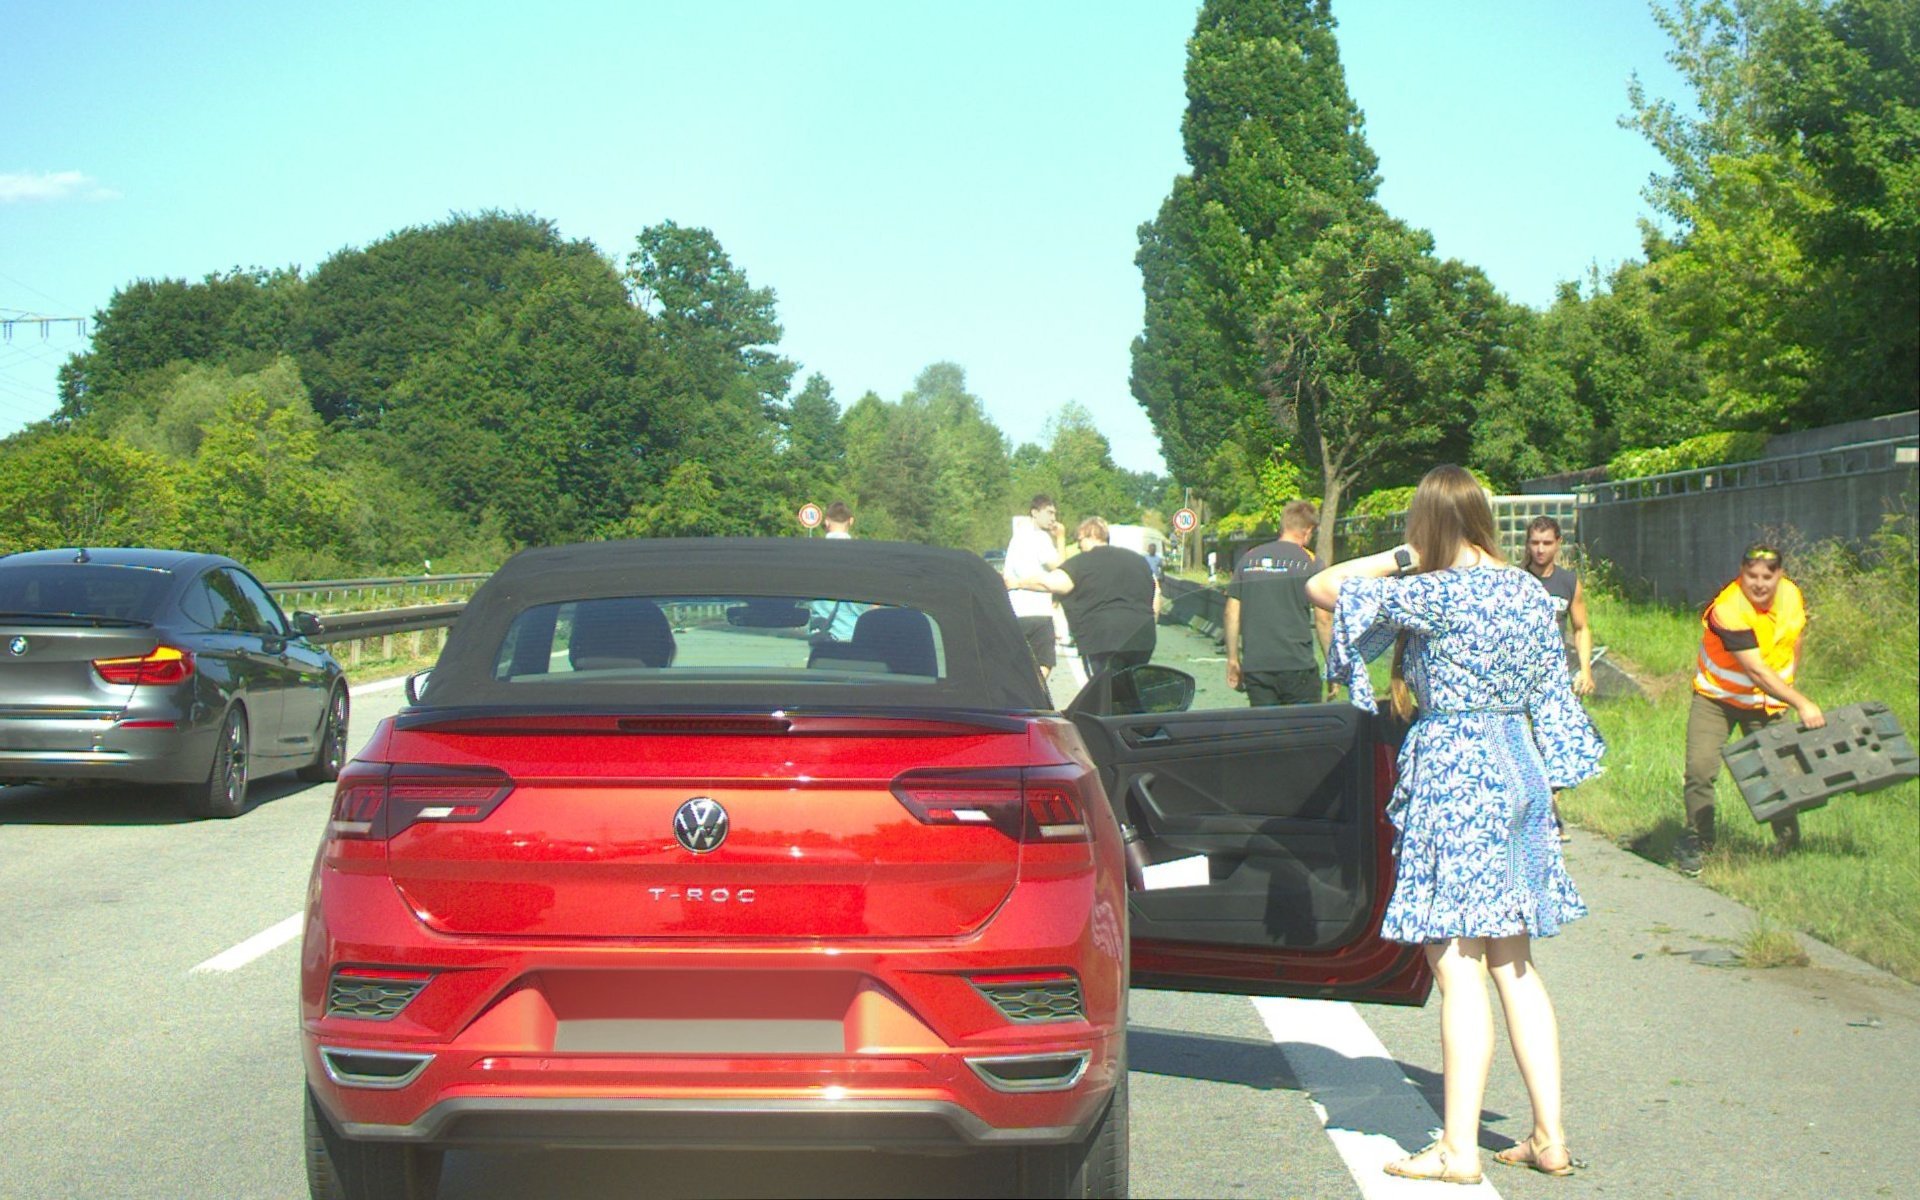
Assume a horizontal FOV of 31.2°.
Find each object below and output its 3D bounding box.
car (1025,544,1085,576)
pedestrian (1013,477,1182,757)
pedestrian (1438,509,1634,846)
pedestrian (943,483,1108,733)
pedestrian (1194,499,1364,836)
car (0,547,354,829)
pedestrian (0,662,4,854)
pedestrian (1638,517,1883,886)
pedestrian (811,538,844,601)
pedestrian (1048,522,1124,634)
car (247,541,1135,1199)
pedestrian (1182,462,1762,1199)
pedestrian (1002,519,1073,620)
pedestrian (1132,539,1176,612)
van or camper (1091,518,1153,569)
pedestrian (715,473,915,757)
[{"bbox_3d":[4.492,-1.900,162.099,1.734,1.482,4.207,1,1,17],"label":"car"},{"bbox_3d":[0.936,0.104,23.745,1.090,1.876,1.069,-1,1,-1],"label":"pedestrian"},{"bbox_3d":[3.010,0.396,18.040,0.894,1.719,0.754,1,0,2],"label":"pedestrian"},{"bbox_3d":[0.503,0.051,27.066,1.105,1.906,1.257,-1,1,-7],"label":"pedestrian"},{"bbox_3d":[1.720,0.348,18.440,0.812,1.753,0.828,1,0,10],"label":"pedestrian"},{"bbox_3d":[-4.754,0.421,19.899,1.694,1.421,4.334,1,1,0],"label":"car"},{"bbox_3d":[-5.216,0.326,16.567,1.040,1.757,1.119,-1,1,-21],"label":"pedestrian"},{"bbox_3d":[3.716,0.445,16.064,0.958,1.648,1.278,-1,1,6],"label":"pedestrian"},{"bbox_3d":[-3.606,-0.824,93.547,0.792,1.683,0.792,1,0,5],"label":"pedestrian"},{"bbox_3d":[1.927,-0.337,52.647,1.056,1.683,1.017,1,0,7],"label":"pedestrian"},{"bbox_3d":[-0.521,0.602,8.854,1.732,1.482,4.210,1,1,0],"label":"car"},{"bbox_3d":[1.188,0.535,8.166,0.889,1.689,1.129,-1,1,-22],"label":"pedestrian"},{"bbox_3d":[1.315,-0.511,58.228,1.114,1.683,0.973,1,0,5],"label":"pedestrian"},{"bbox_3d":[4.516,-0.574,79.912,0.996,1.683,1.010,1,0,4],"label":"pedestrian"},{"bbox_3d":[7.600,-2.628,160.926,1.995,2.308,4.467,1,1,15],"label":"van or camper"},{"bbox_3d":[-0.927,0.087,22.282,1.104,1.782,1.091,1,0,8],"label":"pedestrian"}]
